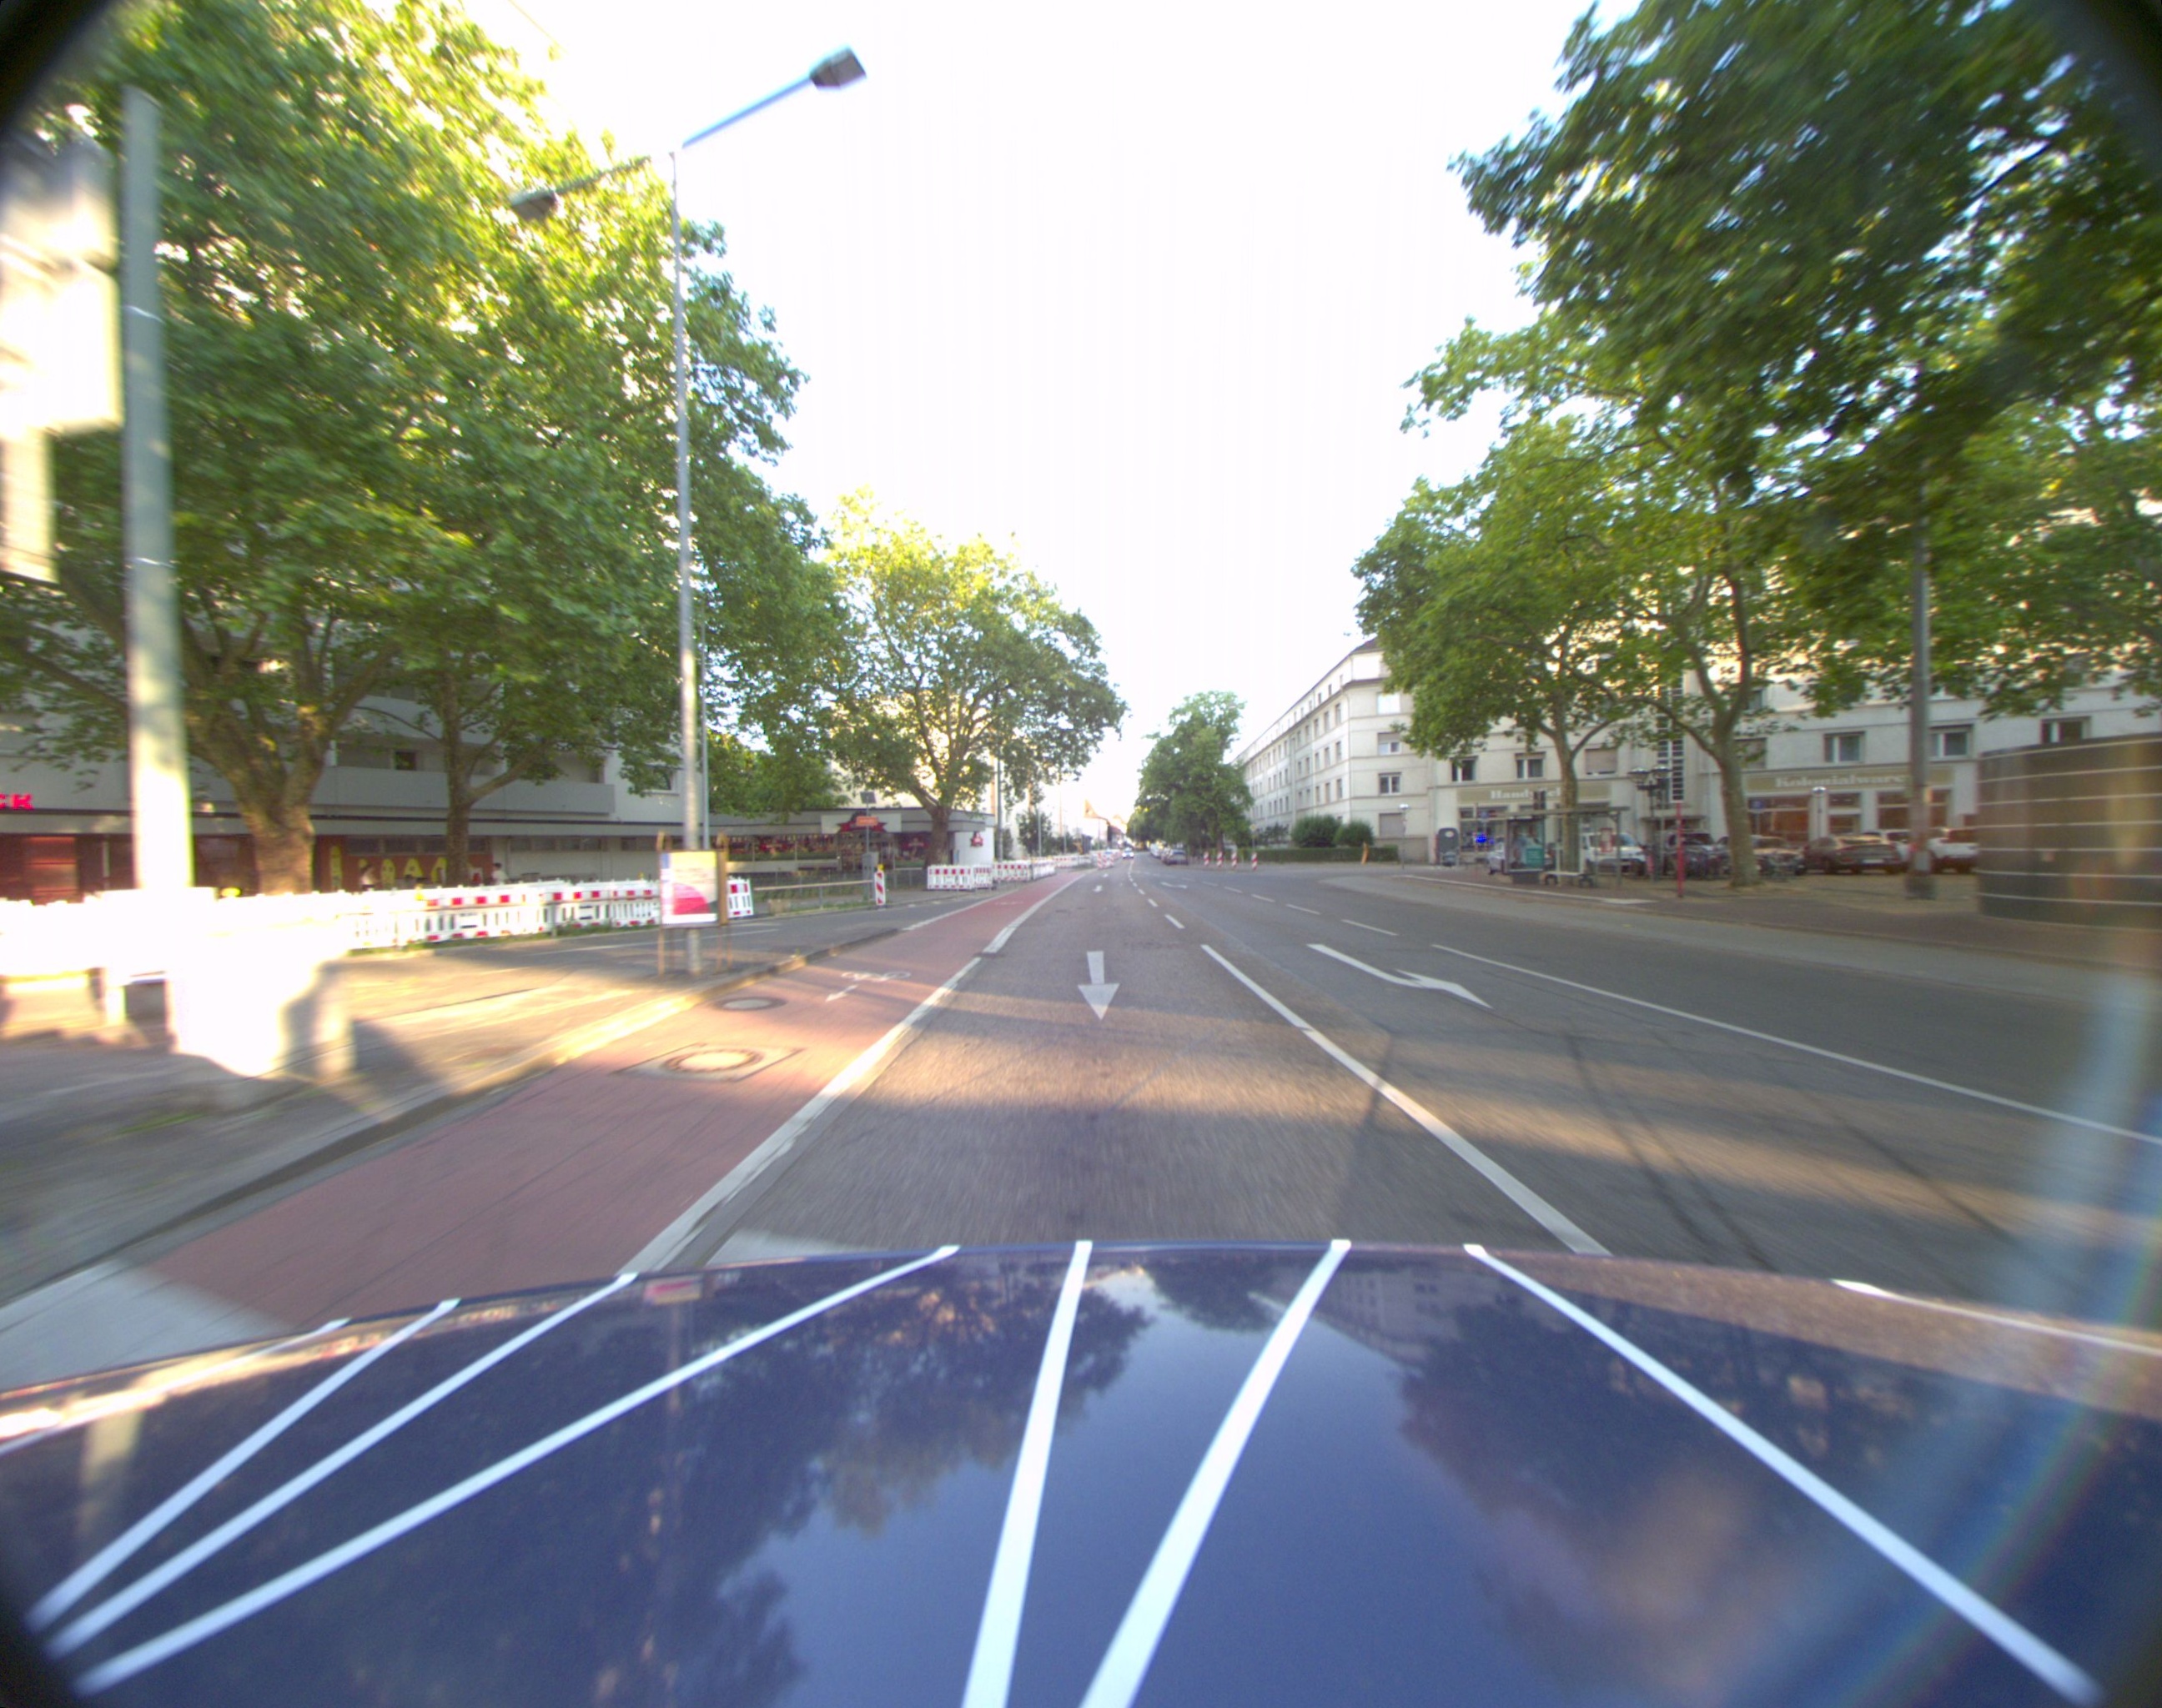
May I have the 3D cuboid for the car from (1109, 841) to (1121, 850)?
[{"bbox_3d":[6.310,-1.584,139.735,1.892,1.651,4.260,-2,2,6],"label":"car"}]

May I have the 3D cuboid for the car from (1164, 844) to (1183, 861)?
[{"bbox_3d":[9.750,-0.182,80.171,1.892,1.681,4.260,-2,2,6],"label":"car"}]

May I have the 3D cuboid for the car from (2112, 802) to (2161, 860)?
[{"bbox_3d":[46.790,-0.972,31.952,1.995,2.429,4.646,0,3,24],"label":"car"}]

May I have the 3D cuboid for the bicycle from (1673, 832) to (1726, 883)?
[{"bbox_3d":[21.094,0.080,25.976,0.807,1.605,2.749,-1,2,26],"label":"bicycle"}]

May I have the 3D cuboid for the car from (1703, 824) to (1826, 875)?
[{"bbox_3d":[25.799,-0.141,28.899,1.995,1.771,4.648,0,0,22],"label":"car"}]

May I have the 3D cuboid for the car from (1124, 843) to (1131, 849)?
[{"bbox_3d":[13.743,-2.319,223.495,1.892,1.591,4.260,-2,2,6],"label":"car"}]

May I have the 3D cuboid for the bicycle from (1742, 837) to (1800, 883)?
[{"bbox_3d":[22.969,0.170,25.349,0.690,1.376,2.749,-1,2,26],"label":"bicycle"}]

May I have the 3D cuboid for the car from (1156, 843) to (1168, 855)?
[{"bbox_3d":[13.476,-0.826,126.001,1.892,1.855,4.260,-2,2,6],"label":"car"}]

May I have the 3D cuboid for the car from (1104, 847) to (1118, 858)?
[{"bbox_3d":[4.709,-0.293,118.968,1.892,1.591,4.260,-2,2,6],"label":"car"}]

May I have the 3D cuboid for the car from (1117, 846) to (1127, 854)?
[{"bbox_3d":[9.380,-0.976,174.124,1.892,1.591,4.260,-2,2,6],"label":"car"}]

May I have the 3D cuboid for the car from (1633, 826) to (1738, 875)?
[{"bbox_3d":[23.698,-0.123,30.002,1.995,1.771,4.648,0,0,22],"label":"car"}]

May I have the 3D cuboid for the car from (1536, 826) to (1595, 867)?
[{"bbox_3d":[25.630,-0.436,40.344,1.995,1.945,4.646,0,3,24],"label":"car"}]

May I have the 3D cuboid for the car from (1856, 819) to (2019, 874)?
[{"bbox_3d":[30.189,-0.242,27.019,1.995,1.771,4.648,0,0,22],"label":"car"}]

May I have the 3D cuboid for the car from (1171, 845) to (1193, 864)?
[{"bbox_3d":[9.511,0.062,71.917,1.892,1.591,4.001,-2,2,6],"label":"car"}]

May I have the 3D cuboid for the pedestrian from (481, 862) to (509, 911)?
[{"bbox_3d":[-19.474,1.072,25.267,0.642,1.579,0.744,-4,2,-37],"label":"pedestrian"}]

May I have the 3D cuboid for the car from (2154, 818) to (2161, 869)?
[{"bbox_3d":[37.788,-0.379,24.177,1.995,1.771,4.648,0,0,22],"label":"car"}]

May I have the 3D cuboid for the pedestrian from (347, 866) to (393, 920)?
[{"bbox_3d":[-21.990,1.199,23.517,0.641,1.579,0.746,-3,2,-5],"label":"pedestrian"}]

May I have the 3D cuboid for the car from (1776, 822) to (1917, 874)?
[{"bbox_3d":[27.971,-0.190,27.986,1.995,1.771,4.648,0,0,22],"label":"car"}]

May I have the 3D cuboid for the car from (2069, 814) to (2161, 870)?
[{"bbox_3d":[35.487,-0.374,24.709,1.995,1.771,4.648,0,0,22],"label":"car"}]

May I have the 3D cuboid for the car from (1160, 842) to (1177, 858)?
[{"bbox_3d":[10.724,-0.499,93.248,1.892,1.764,4.260,-2,2,6],"label":"car"}]

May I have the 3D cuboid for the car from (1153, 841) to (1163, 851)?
[{"bbox_3d":[16.155,-1.736,159.897,1.892,1.868,4.946,-2,2,6],"label":"car"}]

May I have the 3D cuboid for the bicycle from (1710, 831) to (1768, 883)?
[{"bbox_3d":[22.104,0.075,25.573,0.807,1.605,2.749,-1,2,26],"label":"bicycle"}]

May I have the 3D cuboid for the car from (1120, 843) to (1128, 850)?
[{"bbox_3d":[11.554,-2.016,202.667,1.892,1.591,4.260,-2,2,6],"label":"car"}]

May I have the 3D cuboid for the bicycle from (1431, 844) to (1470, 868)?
[{"bbox_3d":[20.080,0.112,41.311,1.802,1.199,0.648,-1,2,34],"label":"bicycle"}]

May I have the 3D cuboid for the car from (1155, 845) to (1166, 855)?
[{"bbox_3d":[14.189,-0.749,135.664,1.892,1.591,4.260,-2,2,6],"label":"car"}]

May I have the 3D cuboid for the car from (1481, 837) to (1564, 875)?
[{"bbox_3d":[18.679,0.096,32.390,1.996,1.495,4.646,0,0,16],"label":"car"}]

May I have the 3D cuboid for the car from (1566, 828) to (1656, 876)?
[{"bbox_3d":[21.239,-0.076,30.670,1.995,1.771,4.648,0,0,22],"label":"car"}]

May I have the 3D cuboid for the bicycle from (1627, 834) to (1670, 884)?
[{"bbox_3d":[19.609,0.134,26.307,0.690,1.605,2.749,-1,2,26],"label":"bicycle"}]
